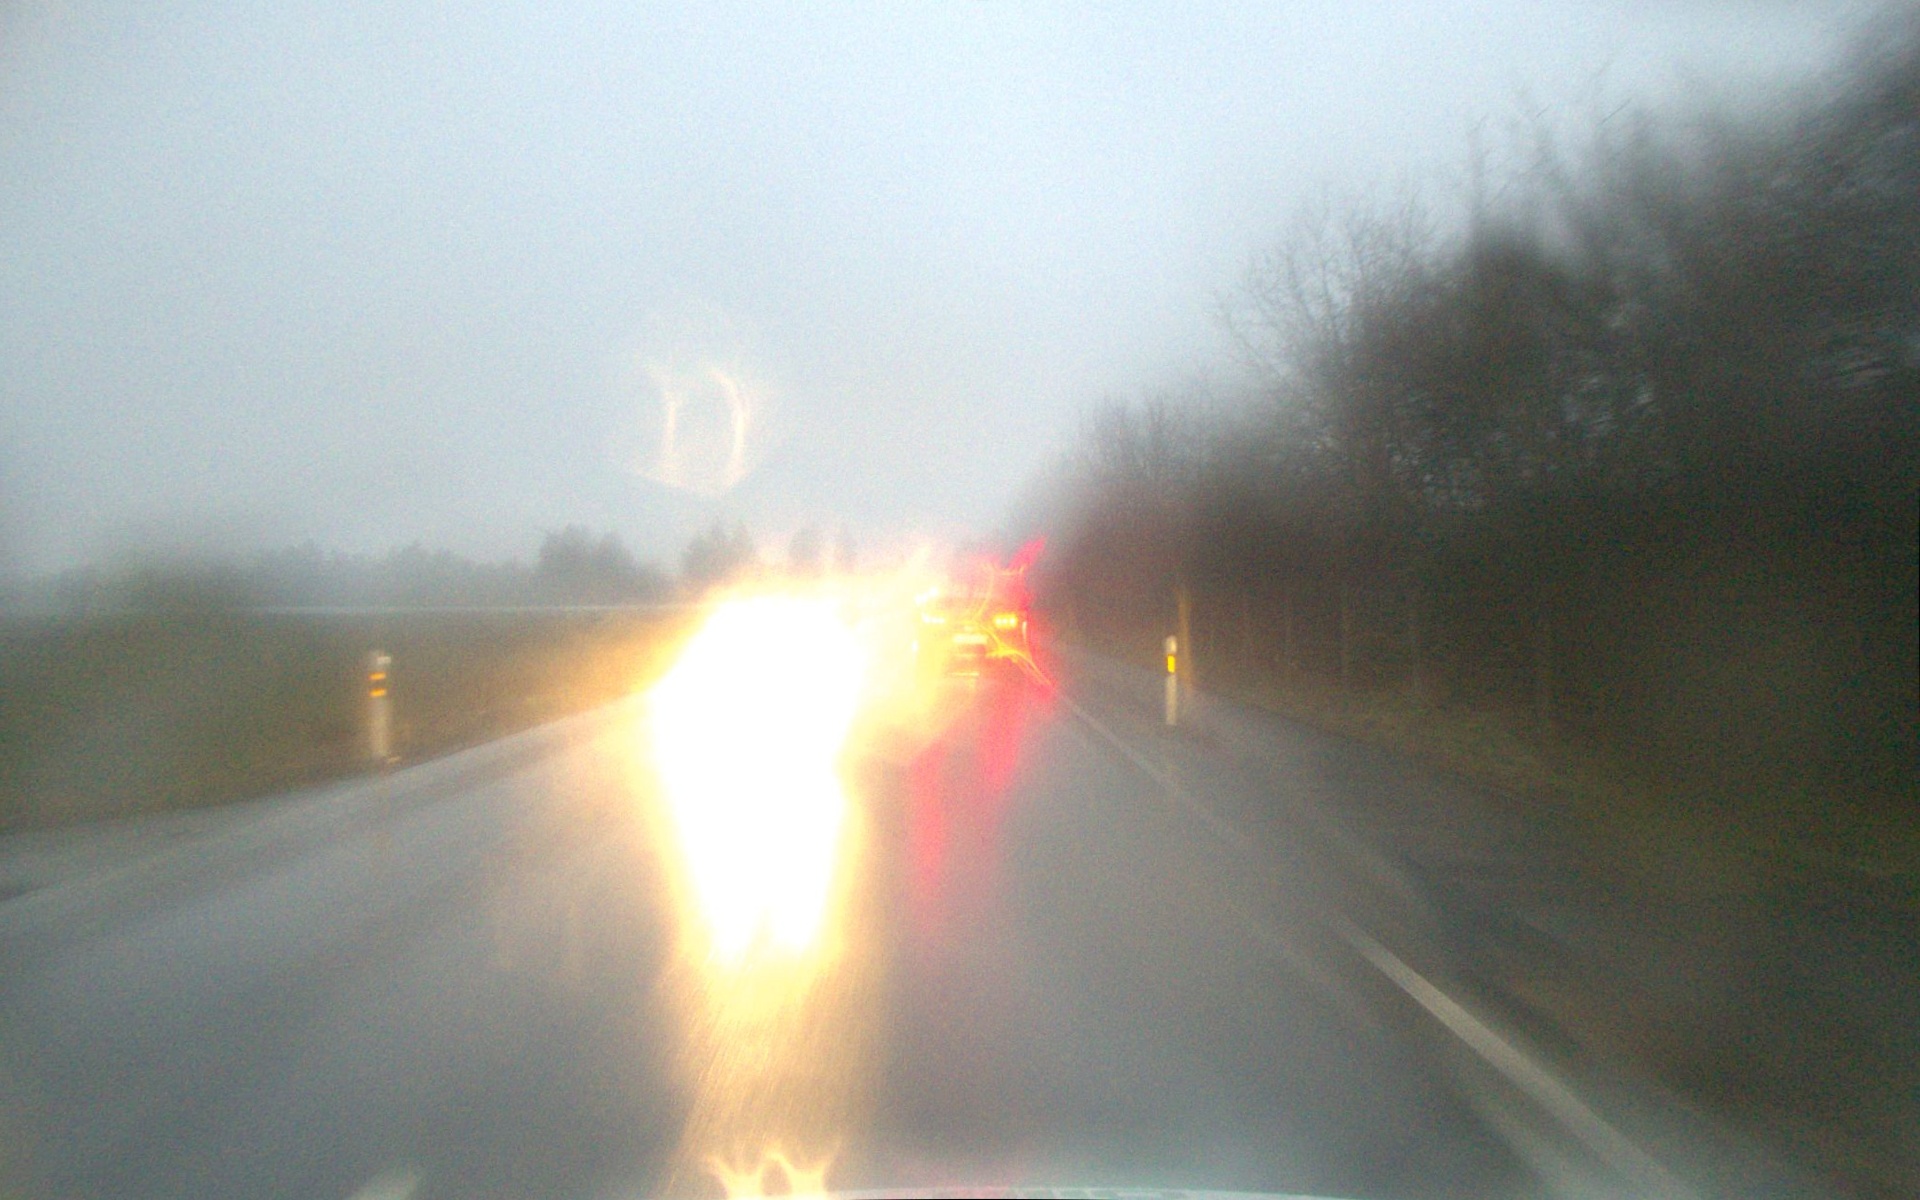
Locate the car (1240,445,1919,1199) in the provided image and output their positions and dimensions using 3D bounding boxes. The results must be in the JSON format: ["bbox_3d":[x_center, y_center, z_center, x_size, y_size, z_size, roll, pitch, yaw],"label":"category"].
[{"bbox_3d":[2.155,0.621,5.004,1.889,1.780,3.999,0,0,-1],"label":"car"}]

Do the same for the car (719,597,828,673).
[{"bbox_3d":[-4.180,0.762,37.771,1.953,1.488,4.351,-5,0,-1],"label":"car"}]

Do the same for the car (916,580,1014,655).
[{"bbox_3d":[0.110,0.473,49.859,2.700,2.071,6.590,-1,0,-1],"label":"car"}]

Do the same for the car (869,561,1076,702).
[{"bbox_3d":[0.161,0.446,28.419,3.100,2.071,6.851,-1,0,-1],"label":"car"}]
